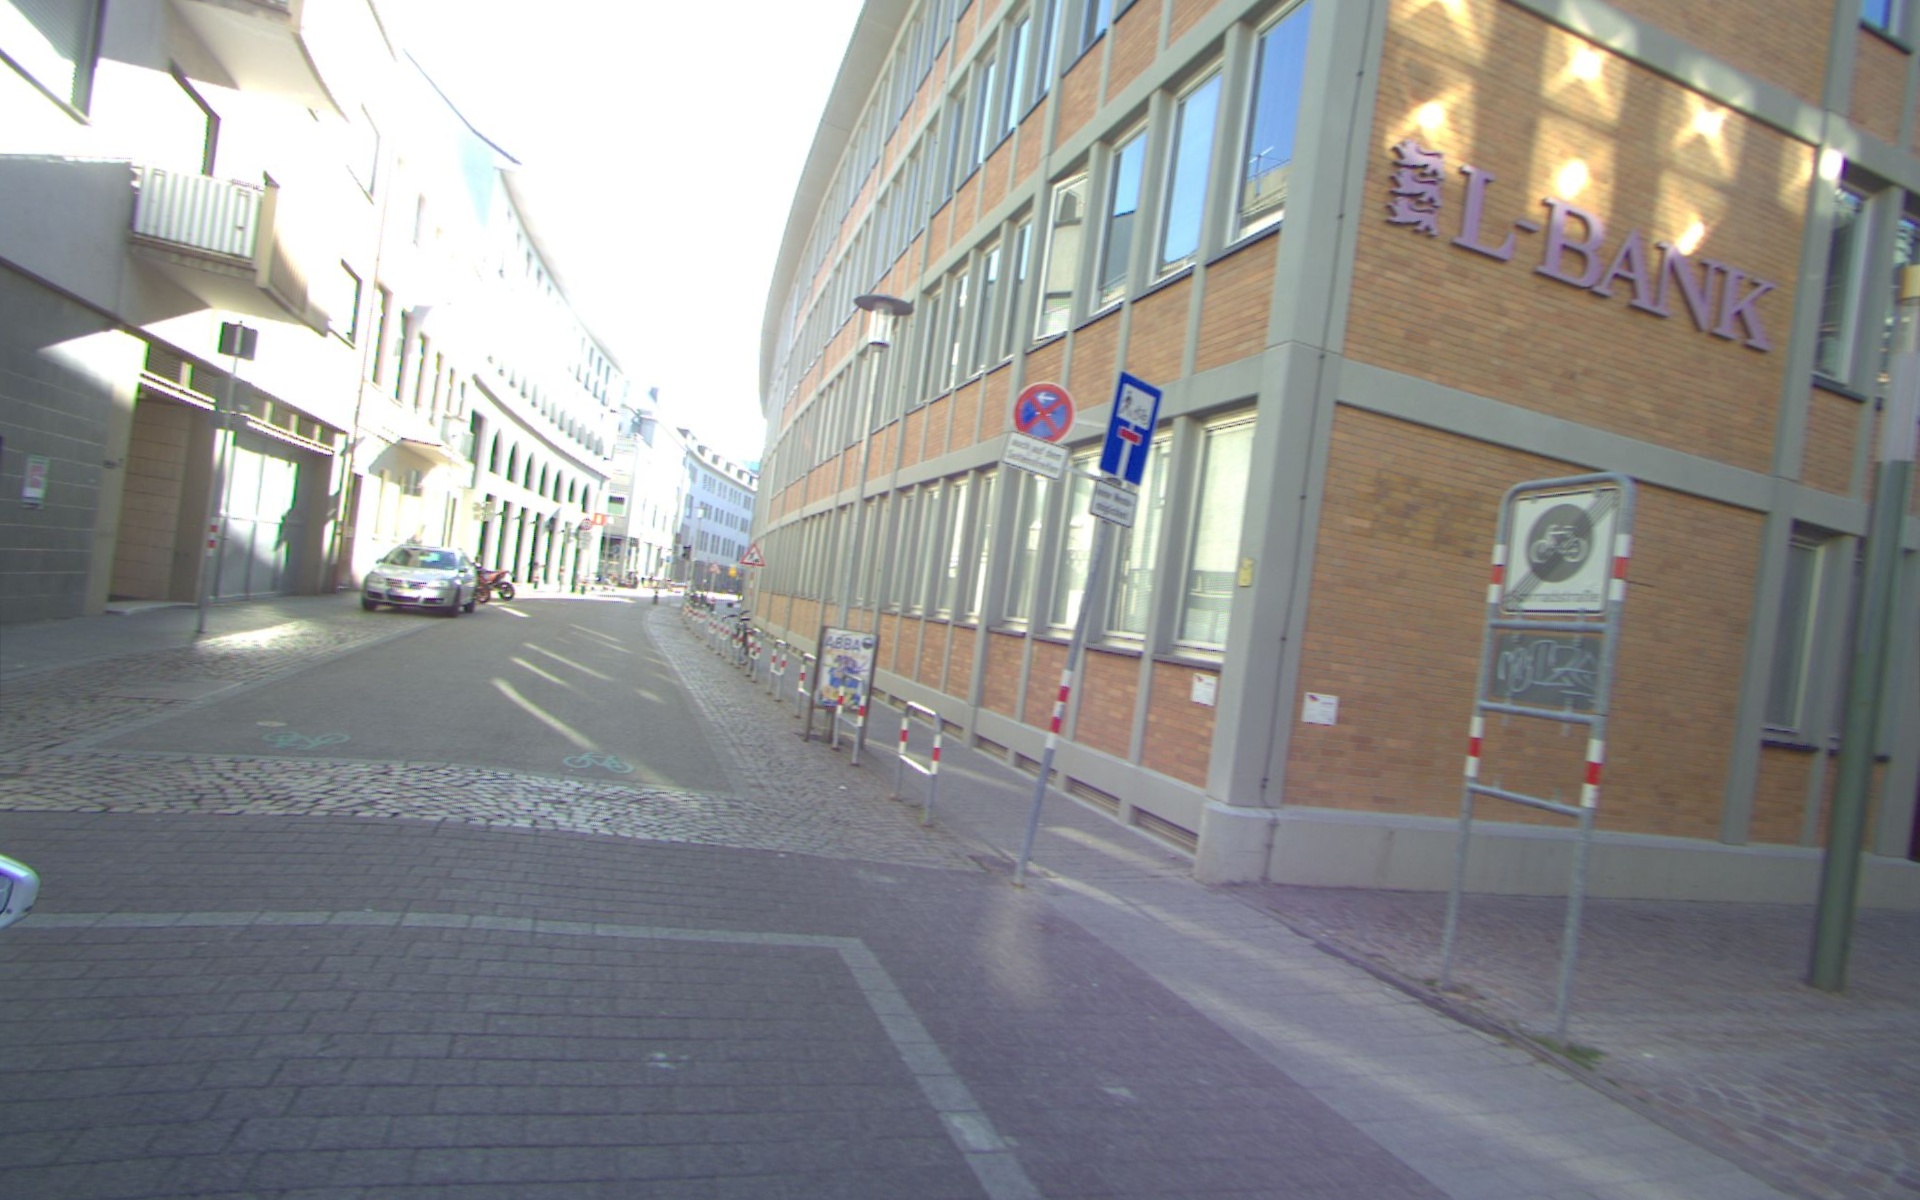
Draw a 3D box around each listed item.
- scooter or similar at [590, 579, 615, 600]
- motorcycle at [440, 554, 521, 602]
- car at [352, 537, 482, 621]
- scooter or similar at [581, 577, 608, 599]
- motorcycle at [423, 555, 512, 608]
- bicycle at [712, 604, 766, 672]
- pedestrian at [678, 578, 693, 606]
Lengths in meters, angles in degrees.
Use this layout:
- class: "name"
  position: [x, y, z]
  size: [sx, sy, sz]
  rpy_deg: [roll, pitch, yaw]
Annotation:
- class: "scooter or similar"
  position: [-23.483, -0.701, 66.023]
  size: [1.929, 1.211, 0.531]
  rpy_deg: [5, -1, 39]
- class: "motorcycle"
  position: [-15.414, -0.696, 32.358]
  size: [2.247, 1.261, 0.574]
  rpy_deg: [7, 0, 1]
- class: "car"
  position: [-11.626, -0.452, 21.778]
  size: [1.745, 1.488, 3.797]
  rpy_deg: [6, 0, -19]
- class: "scooter or similar"
  position: [-22.278, -0.731, 61.360]
  size: [1.929, 1.211, 0.531]
  rpy_deg: [5, -1, 39]
- class: "motorcycle"
  position: [-14.081, -0.531, 28.775]
  size: [2.172, 1.261, 0.574]
  rpy_deg: [7, 0, 1]
- class: "bicycle"
  position: [-4.248, 0.695, 19.251]
  size: [0.629, 1.130, 1.922]
  rpy_deg: [7, -1, -20]
- class: "pedestrian"
  position: [-15.203, -0.434, 55.677]
  size: [0.650, 1.458, 0.593]
  rpy_deg: [7, 0, -17]
